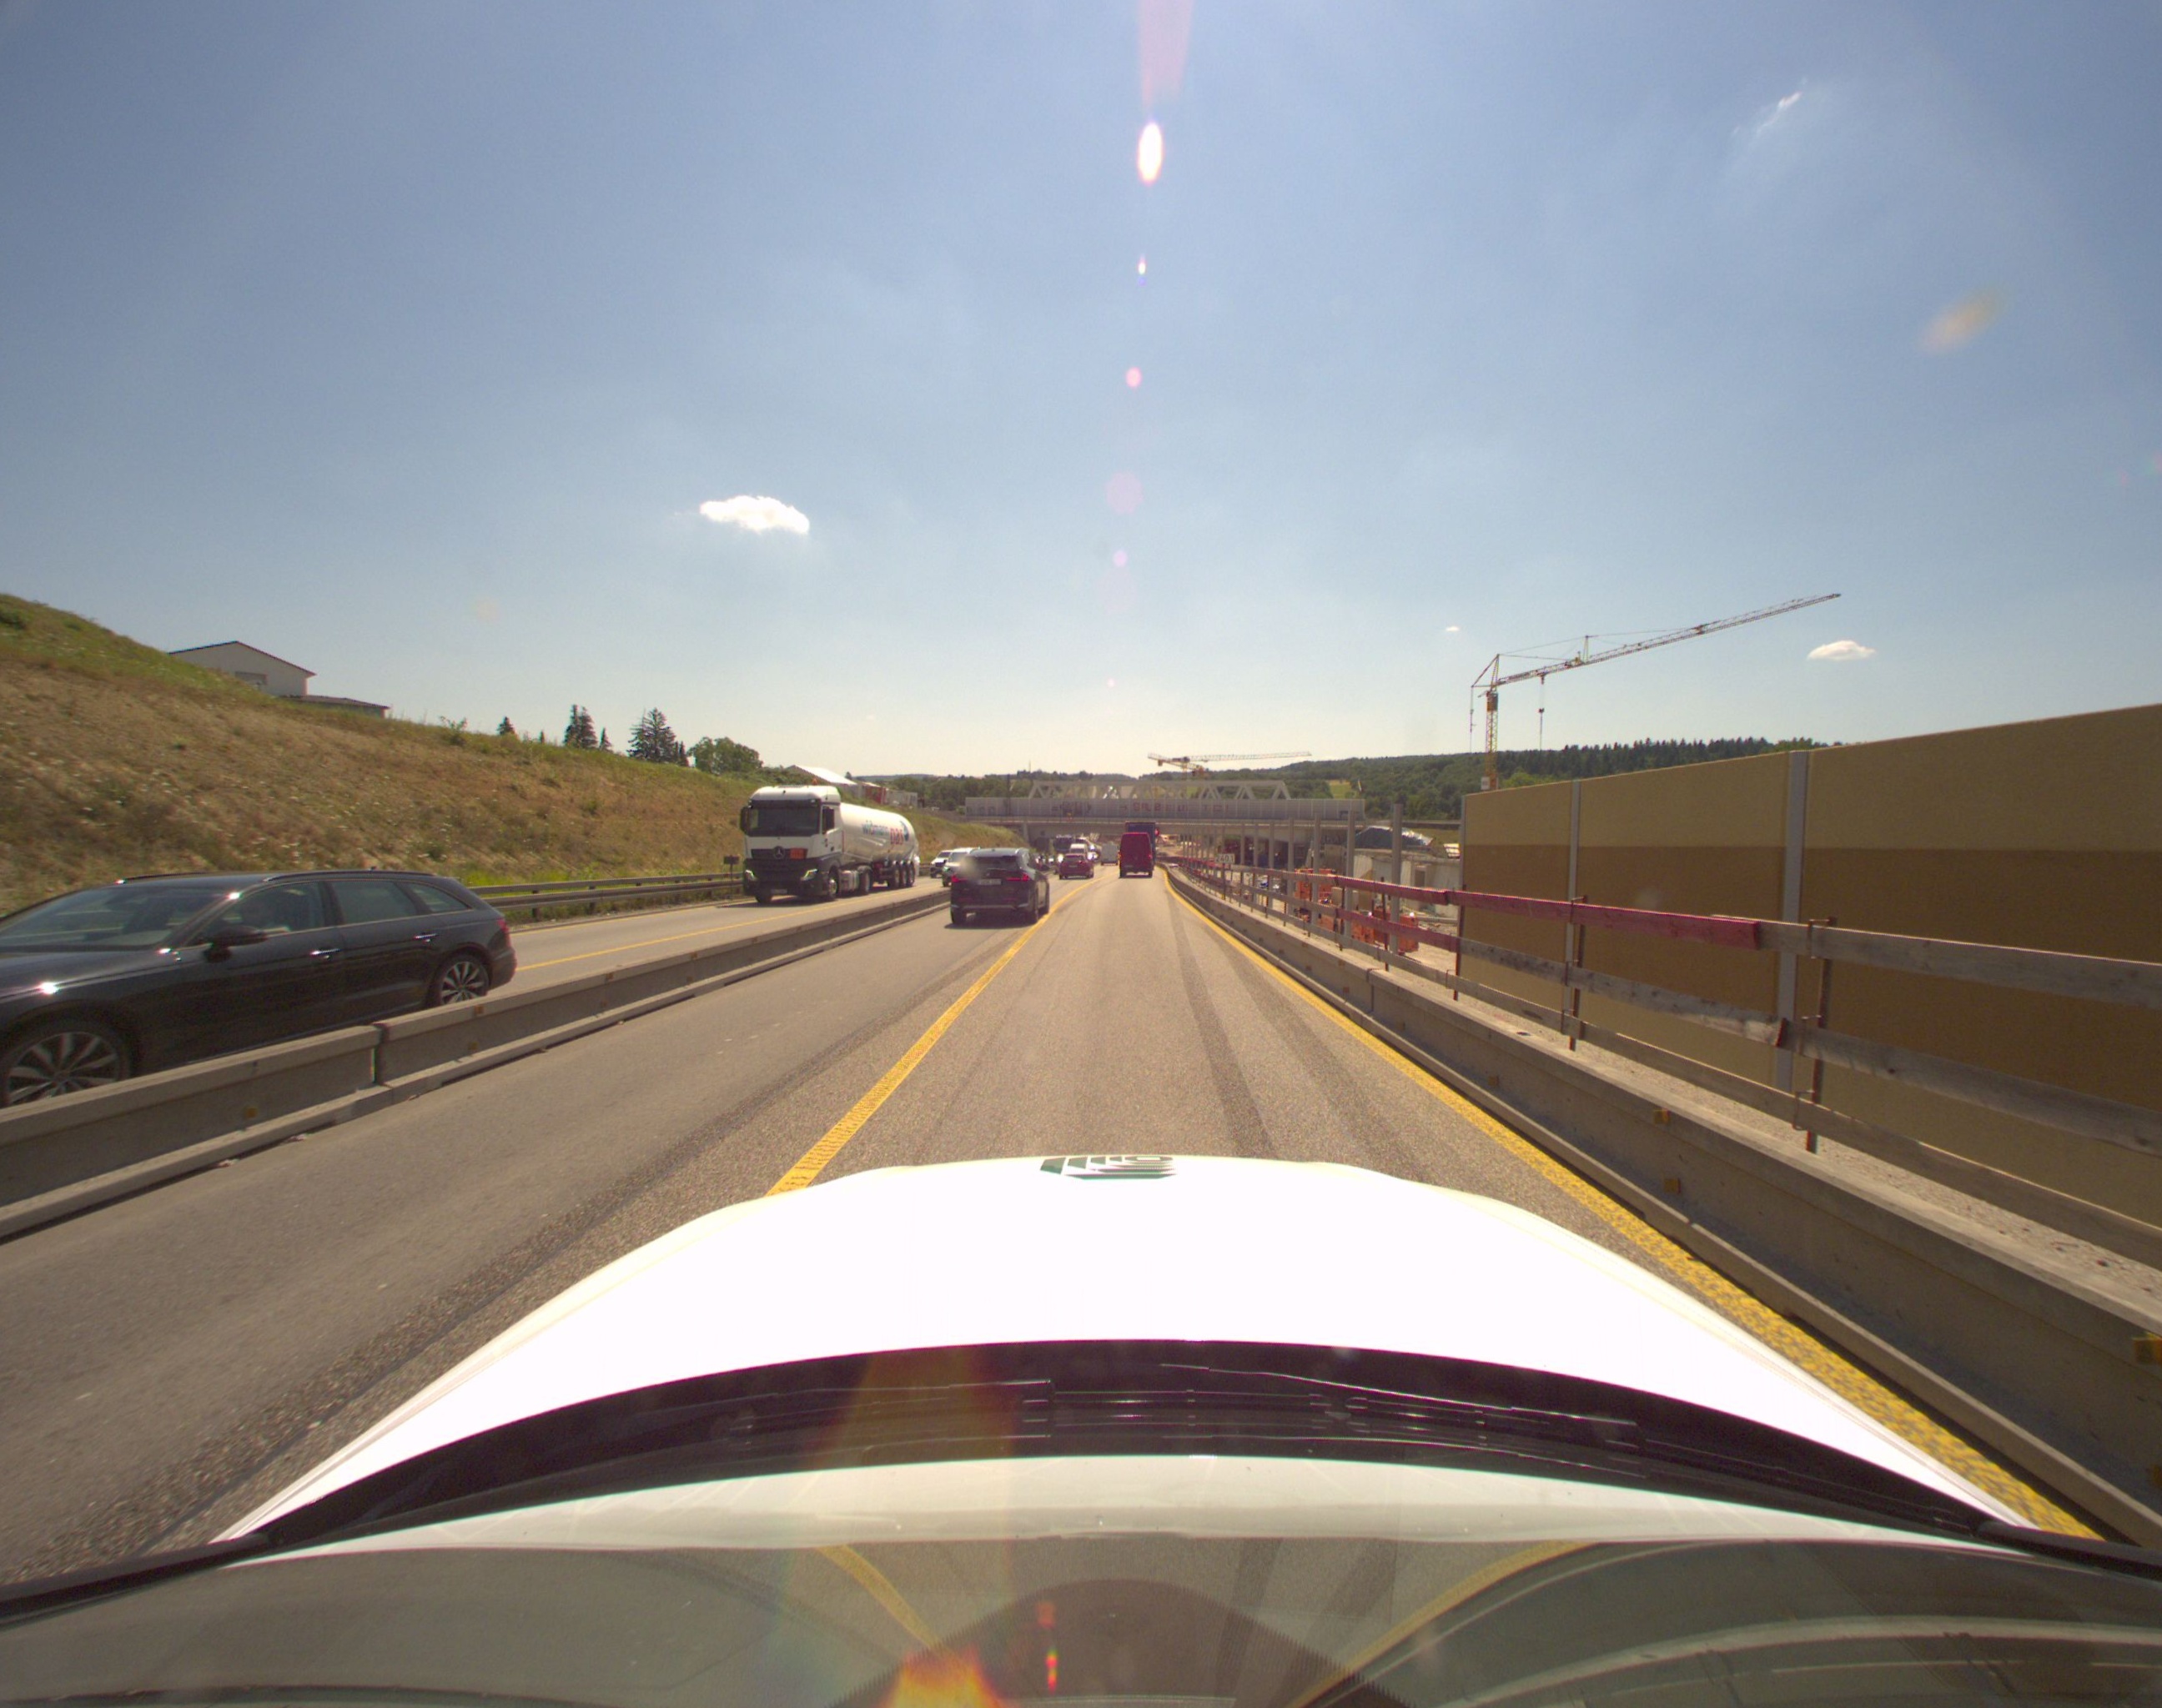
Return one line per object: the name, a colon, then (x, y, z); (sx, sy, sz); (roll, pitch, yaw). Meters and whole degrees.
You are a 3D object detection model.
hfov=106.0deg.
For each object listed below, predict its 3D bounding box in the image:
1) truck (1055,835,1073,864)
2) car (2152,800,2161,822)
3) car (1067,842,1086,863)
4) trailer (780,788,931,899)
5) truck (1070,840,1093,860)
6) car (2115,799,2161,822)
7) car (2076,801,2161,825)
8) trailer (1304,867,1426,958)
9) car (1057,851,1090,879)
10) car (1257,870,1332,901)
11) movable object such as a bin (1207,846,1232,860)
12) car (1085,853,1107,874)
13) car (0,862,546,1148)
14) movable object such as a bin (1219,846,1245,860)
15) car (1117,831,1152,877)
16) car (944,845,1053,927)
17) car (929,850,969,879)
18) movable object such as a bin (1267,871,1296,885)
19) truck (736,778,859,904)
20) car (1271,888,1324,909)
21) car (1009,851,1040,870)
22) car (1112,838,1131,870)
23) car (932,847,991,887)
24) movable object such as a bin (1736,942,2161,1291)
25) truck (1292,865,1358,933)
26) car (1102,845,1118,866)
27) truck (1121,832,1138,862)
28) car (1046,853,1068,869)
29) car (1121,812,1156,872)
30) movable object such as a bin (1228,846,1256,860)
truck: (-2.390, -0.633, 115.059); (2.350, 4.015, 4.000); (0, 0, 0)
car: (78.905, -3.115, 57.362); (1.673, 1.517, 4.079); (0, 0, 4)
car: (-0.566, -0.209, 101.336); (1.986, 2.606, 7.015); (0, 0, 2)
trailer: (-8.830, -0.393, 33.931); (2.580, 3.801, 11.923); (0, 0, 2)
truck: (0.225, -0.810, 159.324); (2.819, 3.852, 12.939); (0, 0, 7)
car: (76.364, -3.085, 57.530); (1.673, 1.517, 4.079); (0, 0, 4)
car: (73.890, -2.876, 57.839); (1.673, 1.517, 4.079); (0, 0, 4)
trailer: (14.823, 2.798, 43.899); (2.746, 3.886, 13.061); (0, 0, 3)
car: (-0.411, 0.612, 47.376); (1.770, 1.517, 4.205); (-1, 0, 0)
car: (19.447, 2.857, 74.187); (6.083, 2.584, 2.524); (1, 2, -8)
movable object such as a bin: (28.694, -0.227, 169.175); (5.118, 2.807, 2.147); (0, 0, 7)
car: (1.316, 0.815, 71.204); (1.833, 1.654, 4.166); (-1, 1, 1)
car: (-6.509, 0.809, 6.112); (1.773, 1.458, 4.721); (0, 0, 1)
movable object such as a bin: (30.415, -0.244, 163.923); (5.118, 2.807, 2.147); (0, 0, 7)
car: (3.317, -0.016, 49.968); (1.980, 2.690, 4.629); (-1, 0, 4)
car: (-1.744, 0.630, 18.723); (1.872, 1.618, 4.501); (-1, 0, 2)
car: (-8.543, 0.661, 53.079); (1.784, 1.762, 4.538); (-1, 0, 1)
movable object such as a bin: (24.174, 2.856, 98.229); (3.067, 1.563, 1.563); (0, 0, 38)
truck: (-9.082, -0.397, 26.494); (2.580, 3.801, 3.769); (0, 0, 2)
car: (21.482, 4.455, 80.948); (4.708, 1.773, 2.002); (1, 2, 3)
car: (-4.645, 0.512, 67.806); (1.953, 1.464, 4.944); (0, 0, 3)
car: (5.649, -0.029, 113.436); (2.441, 4.161, 6.863); (-1, 0, 2)
car: (-5.584, 0.563, 38.563); (1.872, 1.745, 4.486); (-1, 0, 3)
movable object such as a bin: (14.609, 3.570, 11.793); (2.955, 3.487, 9.153); (2, 0, 1)
truck: (15.265, 2.736, 51.388); (2.747, 3.886, 5.887); (0, 0, 3)
car: (3.395, 0.144, 95.828); (1.769, 2.441, 4.208); (-1, 0, 2)
truck: (9.117, -1.344, 152.188); (2.821, 5.398, 12.932); (0, 0, 5)
car: (-2.406, 0.682, 82.317); (1.793, 1.447, 4.641); (0, 0, 3)
car: (5.110, -1.068, 73.861); (2.611, 5.032, 10.401); (-1, 0, 2)
movable object such as a bin: (31.061, -0.182, 157.350); (5.118, 2.807, 2.147); (0, 0, 7)
